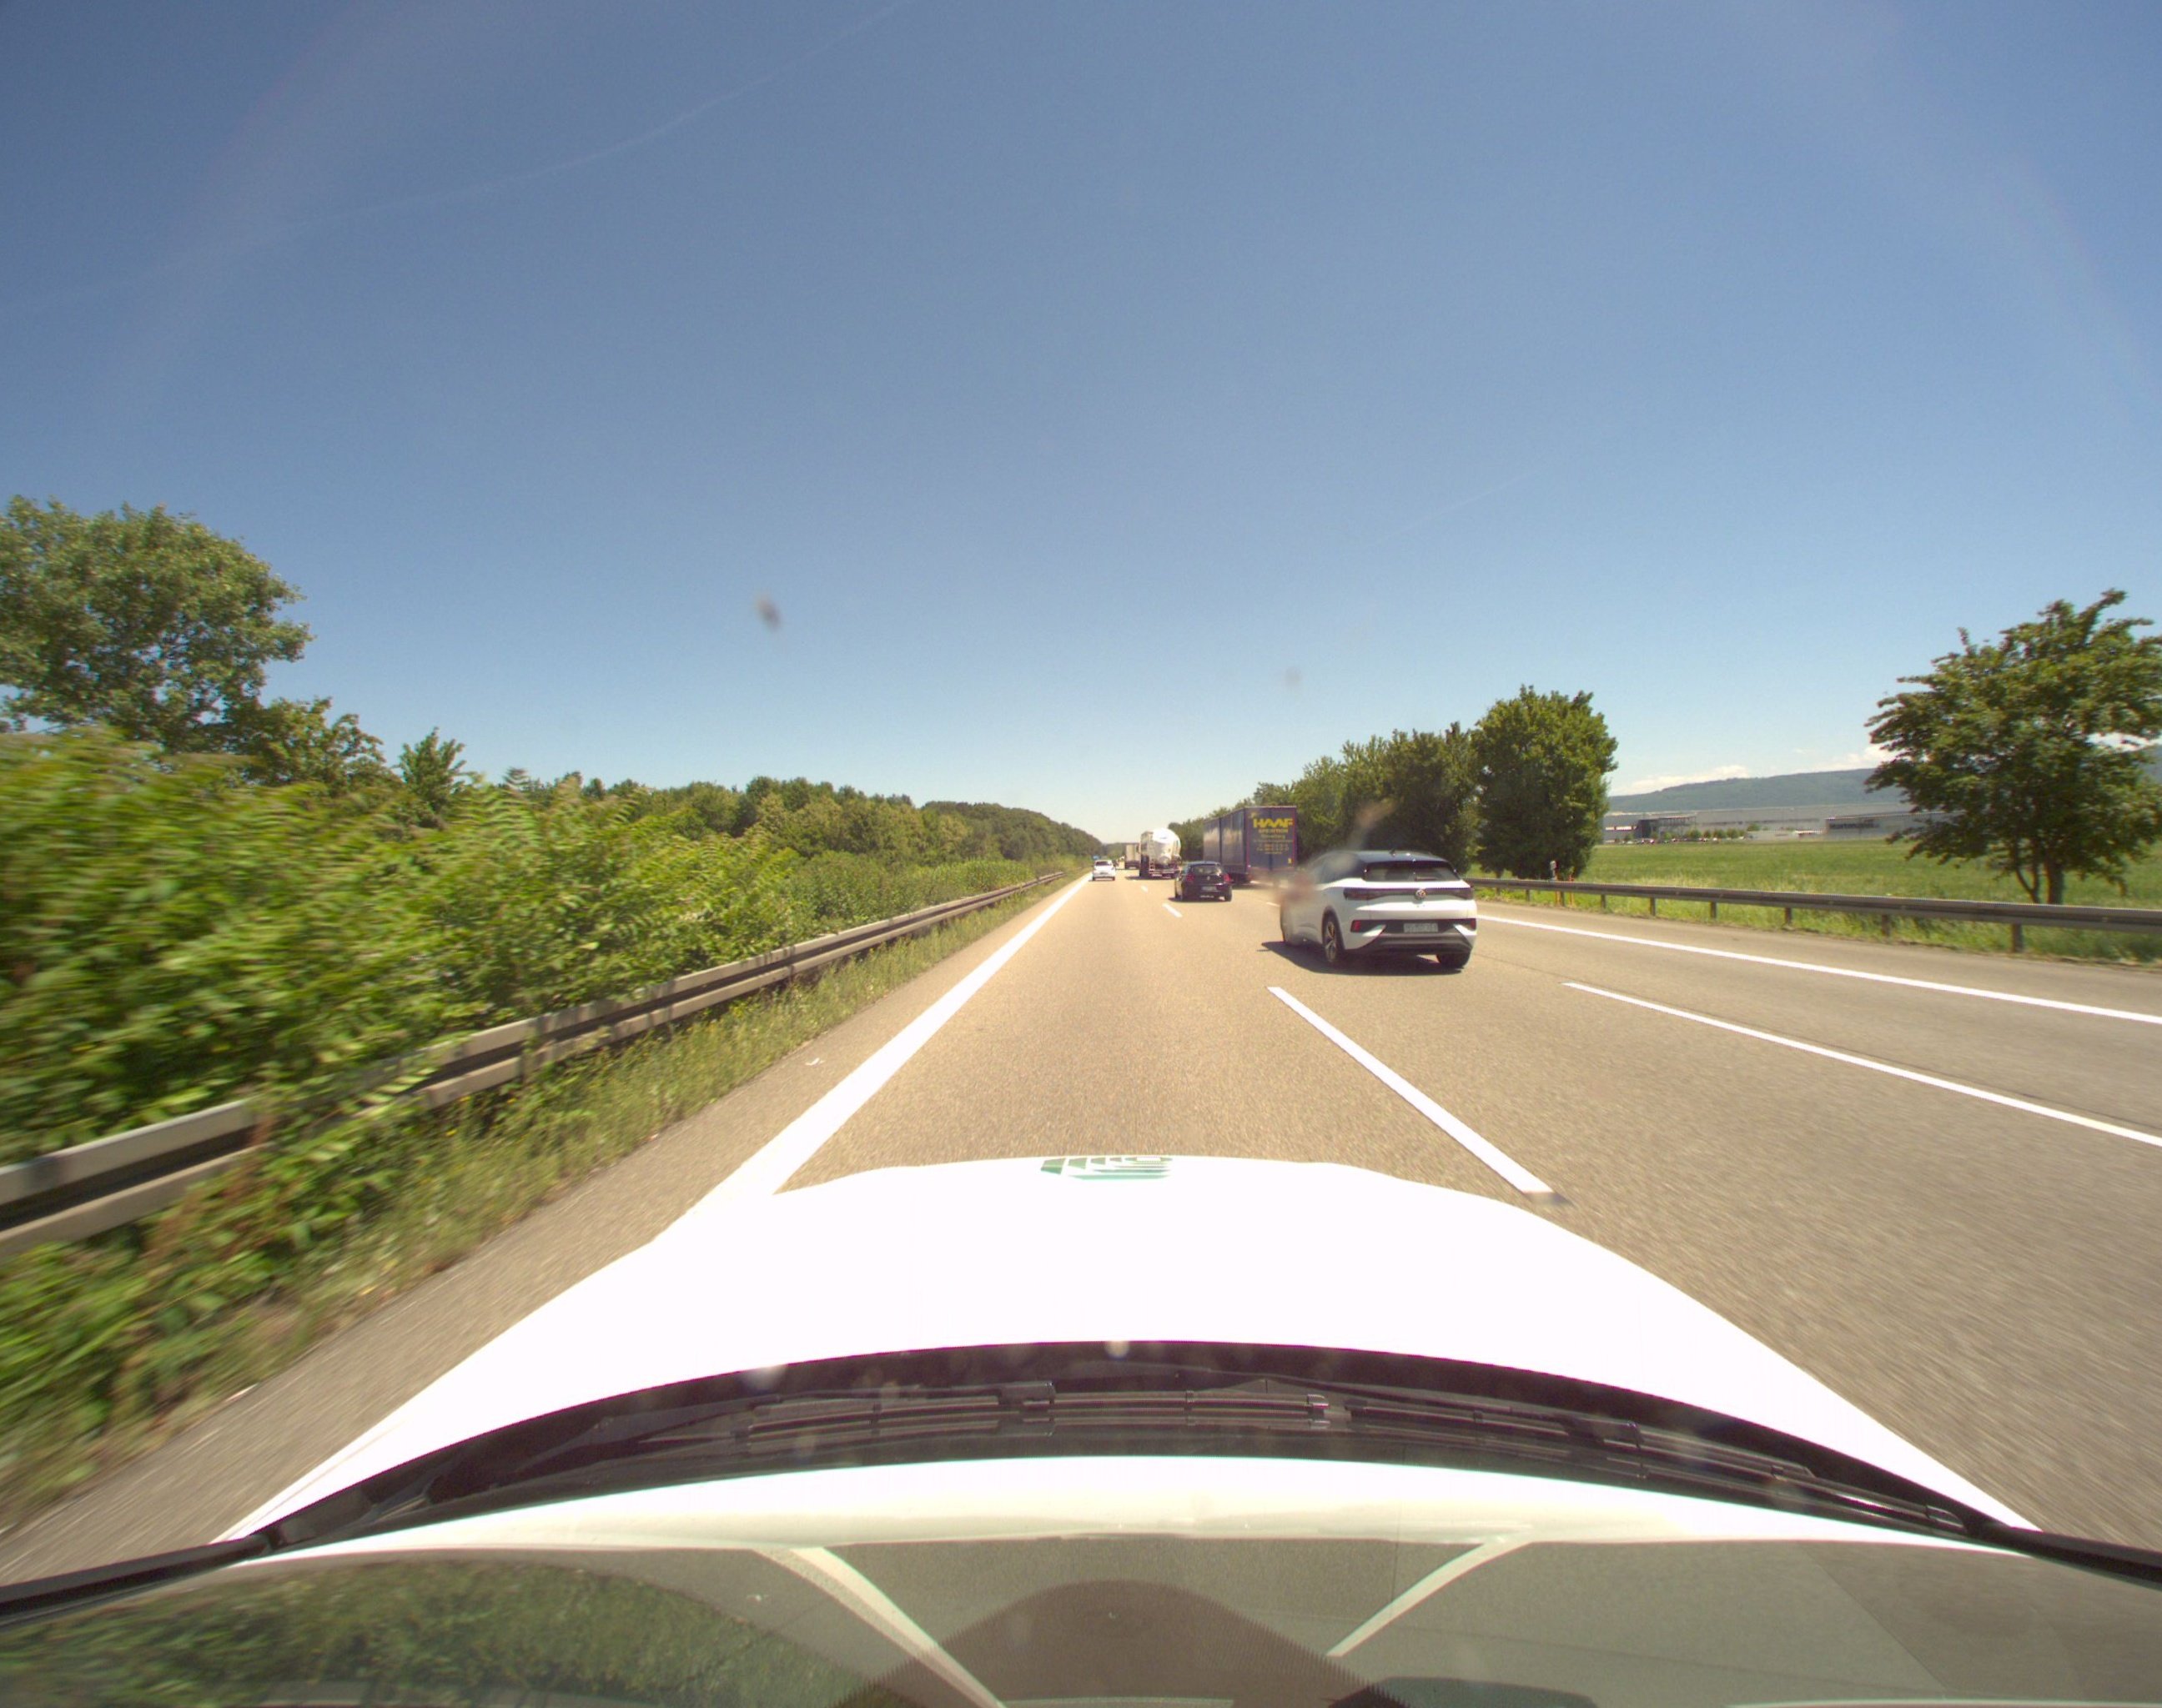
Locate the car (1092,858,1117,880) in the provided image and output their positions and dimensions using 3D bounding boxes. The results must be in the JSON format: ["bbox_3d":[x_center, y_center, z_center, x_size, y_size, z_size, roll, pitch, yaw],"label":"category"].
[{"bbox_3d":[1.734,1.099,60.356,1.793,1.552,3.610,0,0,0],"label":"car"}]

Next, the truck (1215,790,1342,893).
[{"bbox_3d":[9.222,-0.469,40.504,3.097,4.139,15.519,0,0,2],"label":"truck"}]

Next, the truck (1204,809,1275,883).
[{"bbox_3d":[9.600,-0.443,50.178,3.097,4.139,8.060,0,0,2],"label":"truck"}]

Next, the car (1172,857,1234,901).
[{"bbox_3d":[4.409,0.867,29.979,1.843,1.523,3.959,0,0,2],"label":"car"}]

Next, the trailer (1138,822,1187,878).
[{"bbox_3d":[6.369,-0.269,65.677,2.901,4.069,12.420,0,0,1],"label":"trailer"}]

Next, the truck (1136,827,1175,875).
[{"bbox_3d":[6.464,-0.241,71.769,2.902,4.079,7.196,0,0,1],"label":"truck"}]

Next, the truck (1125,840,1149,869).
[{"bbox_3d":[8.617,0.093,127.673,3.381,4.214,12.089,0,0,2],"label":"truck"}]

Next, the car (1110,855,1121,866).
[{"bbox_3d":[7.815,1.526,186.925,2.465,2.354,5.184,0,0,2],"label":"car"}]

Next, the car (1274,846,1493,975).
[{"bbox_3d":[4.294,0.707,12.362,1.796,1.603,4.382,0,0,1],"label":"car"}]
